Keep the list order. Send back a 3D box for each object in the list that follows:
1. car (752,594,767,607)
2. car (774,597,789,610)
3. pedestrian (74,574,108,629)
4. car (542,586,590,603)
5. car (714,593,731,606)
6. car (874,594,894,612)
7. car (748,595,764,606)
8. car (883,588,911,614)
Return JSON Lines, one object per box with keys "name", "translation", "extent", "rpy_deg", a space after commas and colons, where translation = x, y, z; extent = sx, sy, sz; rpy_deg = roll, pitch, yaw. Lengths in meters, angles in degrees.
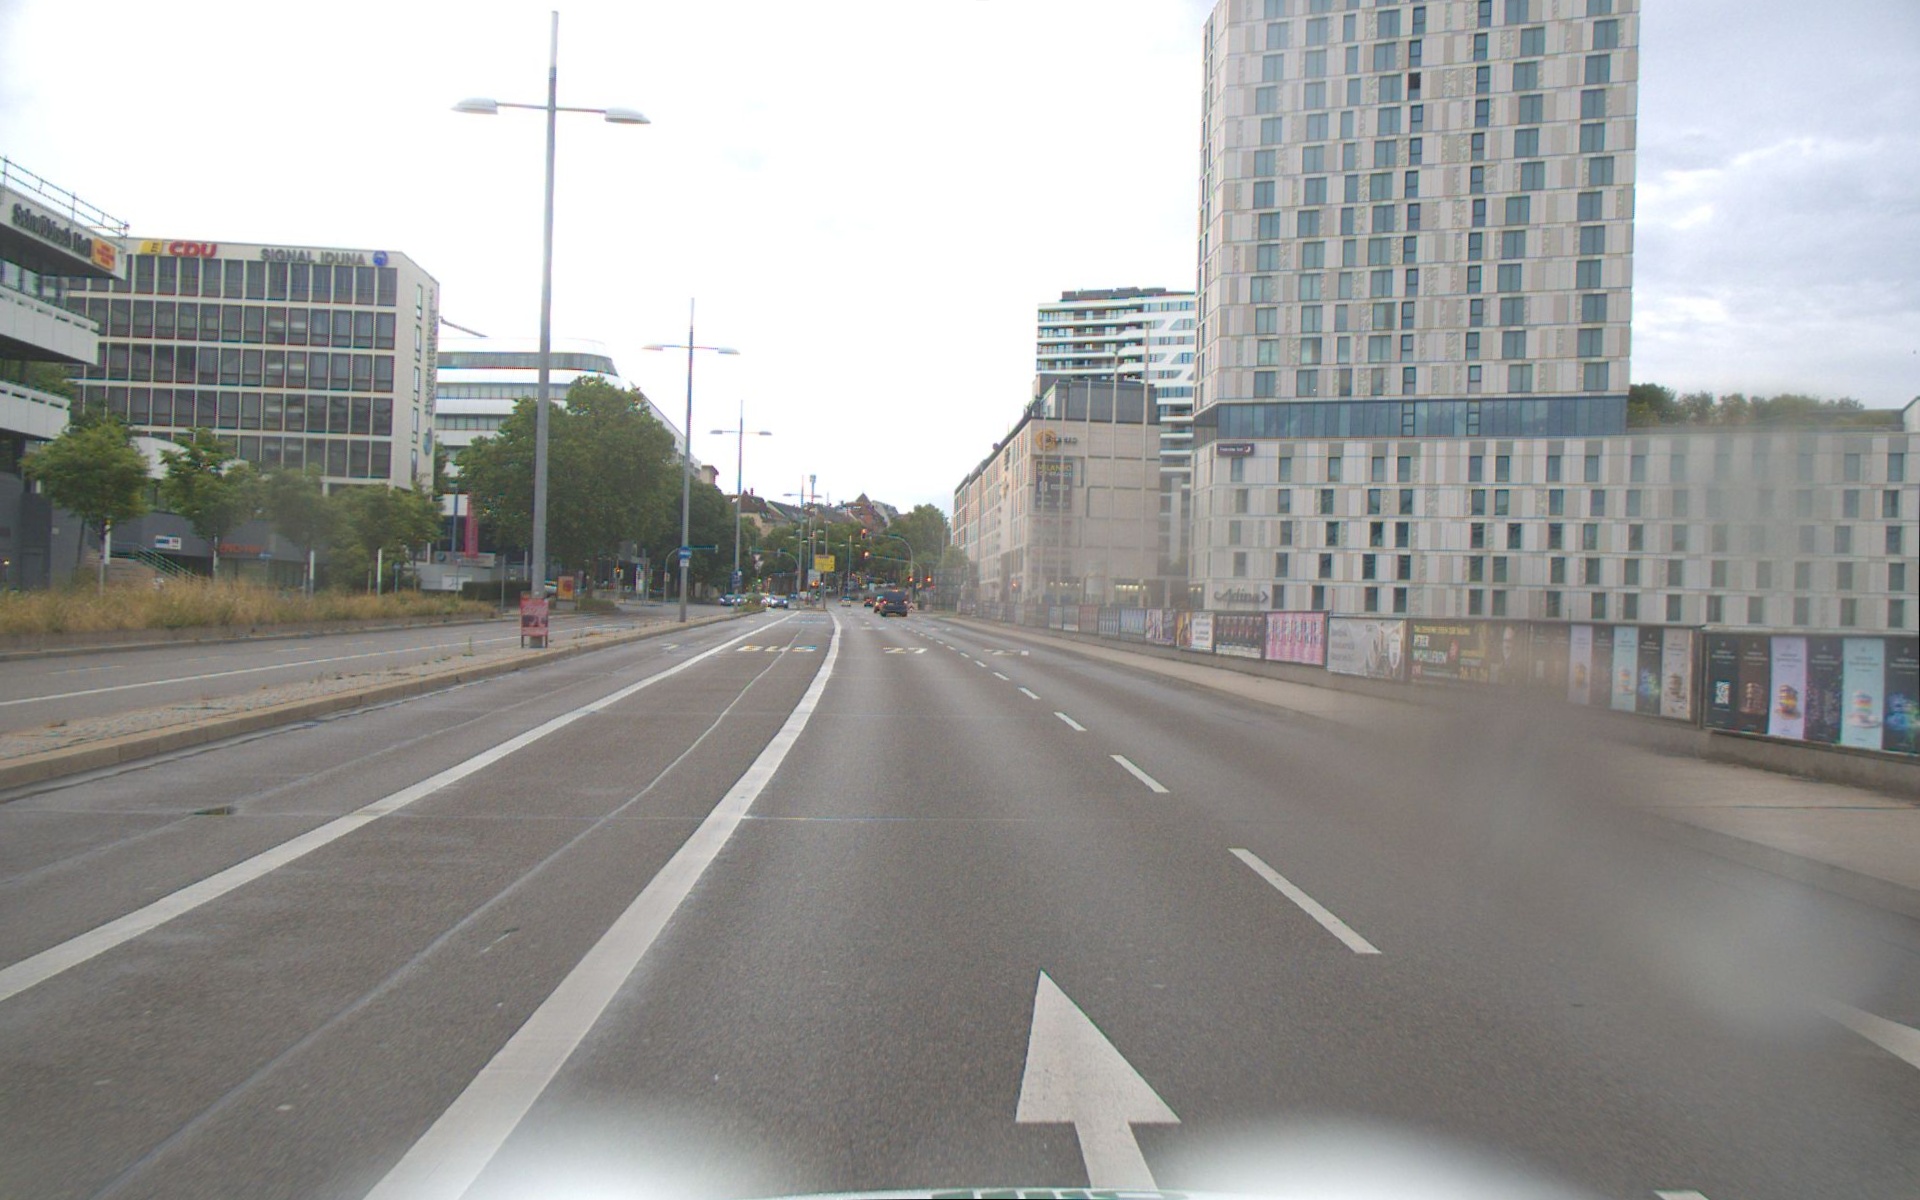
{"name": "car", "translation": [-24.853, 0.045, 205.059], "extent": [1.709, 1.586, 3.536], "rpy_deg": [1, -1, -4]}
{"name": "car", "translation": [-21.267, 0.478, 197.141], "extent": [1.709, 1.470, 3.391], "rpy_deg": [1, -1, -4]}
{"name": "pedestrian", "translation": [-29.354, 0.059, 55.882], "extent": [0.769, 1.839, 0.628], "rpy_deg": [1, -1, -4]}
{"name": "car", "translation": [-40.020, -0.574, 168.019], "extent": [4.405, 1.660, 1.896], "rpy_deg": [1, -1, 12]}
{"name": "car", "translation": [-28.230, -0.053, 196.924], "extent": [1.709, 1.352, 4.221], "rpy_deg": [1, -1, -4]}
{"name": "car", "translation": [-7.007, 0.268, 152.135], "extent": [1.706, 1.558, 3.810], "rpy_deg": [1, -1, -4]}
{"name": "car", "translation": [-24.387, 0.055, 197.684], "extent": [1.709, 1.279, 3.536], "rpy_deg": [2, 0, -4]}
{"name": "car", "translation": [-4.854, 0.040, 127.405], "extent": [1.993, 1.915, 5.038], "rpy_deg": [-2, 1, -4]}
